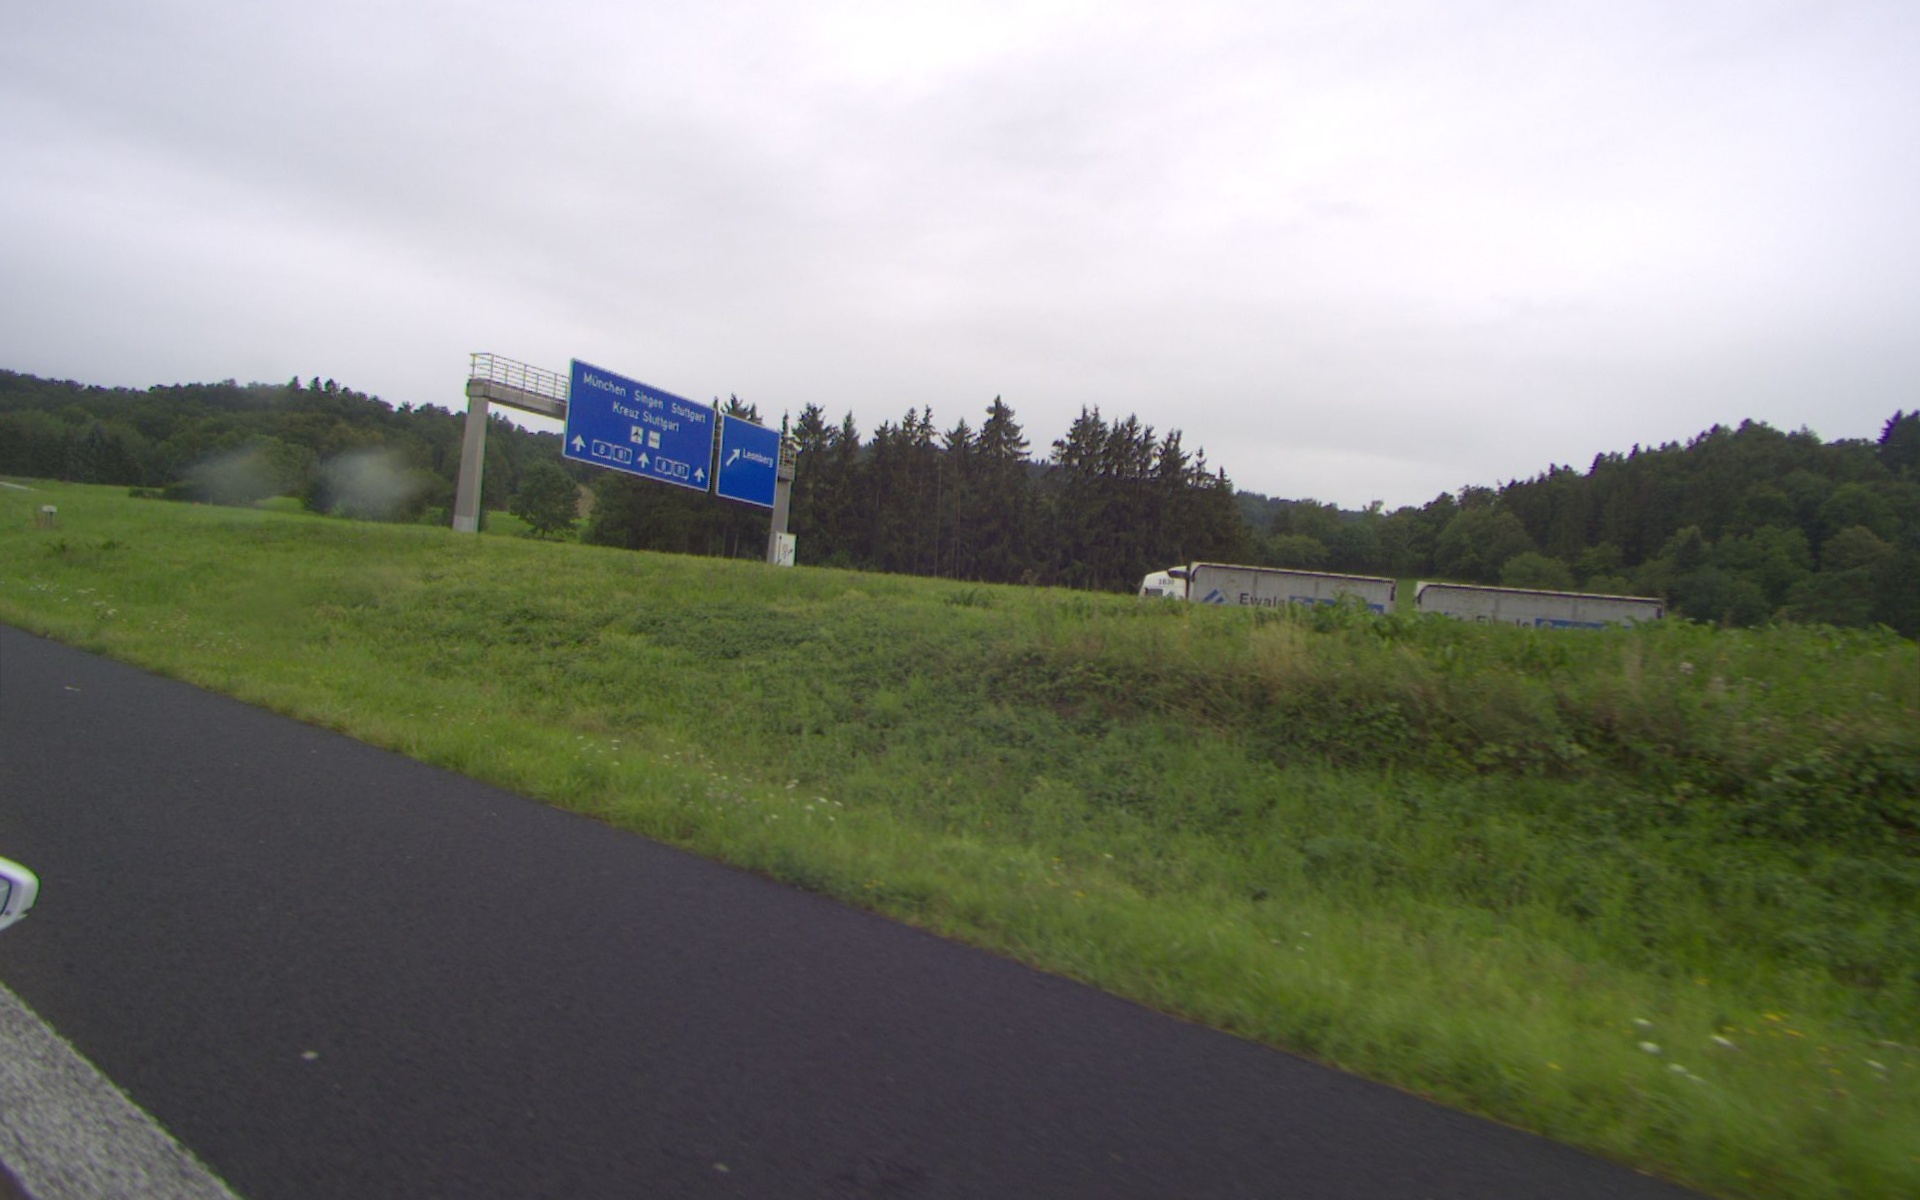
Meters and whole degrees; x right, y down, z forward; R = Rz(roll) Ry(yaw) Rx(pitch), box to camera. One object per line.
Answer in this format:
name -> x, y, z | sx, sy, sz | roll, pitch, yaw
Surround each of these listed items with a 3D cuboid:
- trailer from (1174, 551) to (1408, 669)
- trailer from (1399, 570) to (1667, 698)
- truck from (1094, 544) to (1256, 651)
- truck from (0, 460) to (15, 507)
trailer -> 13.198, 0.390, 40.280 | 8.267, 3.568, 2.949 | 7, -1, 23
trailer -> 20.663, 1.245, 36.973 | 7.938, 3.567, 3.089 | 7, -2, 24
truck -> 9.021, -0.093, 42.085 | 5.819, 3.568, 2.949 | 7, -1, 23
truck -> -82.555, -10.093, 83.124 | 8.128, 3.701, 3.836 | 7, -2, 28
